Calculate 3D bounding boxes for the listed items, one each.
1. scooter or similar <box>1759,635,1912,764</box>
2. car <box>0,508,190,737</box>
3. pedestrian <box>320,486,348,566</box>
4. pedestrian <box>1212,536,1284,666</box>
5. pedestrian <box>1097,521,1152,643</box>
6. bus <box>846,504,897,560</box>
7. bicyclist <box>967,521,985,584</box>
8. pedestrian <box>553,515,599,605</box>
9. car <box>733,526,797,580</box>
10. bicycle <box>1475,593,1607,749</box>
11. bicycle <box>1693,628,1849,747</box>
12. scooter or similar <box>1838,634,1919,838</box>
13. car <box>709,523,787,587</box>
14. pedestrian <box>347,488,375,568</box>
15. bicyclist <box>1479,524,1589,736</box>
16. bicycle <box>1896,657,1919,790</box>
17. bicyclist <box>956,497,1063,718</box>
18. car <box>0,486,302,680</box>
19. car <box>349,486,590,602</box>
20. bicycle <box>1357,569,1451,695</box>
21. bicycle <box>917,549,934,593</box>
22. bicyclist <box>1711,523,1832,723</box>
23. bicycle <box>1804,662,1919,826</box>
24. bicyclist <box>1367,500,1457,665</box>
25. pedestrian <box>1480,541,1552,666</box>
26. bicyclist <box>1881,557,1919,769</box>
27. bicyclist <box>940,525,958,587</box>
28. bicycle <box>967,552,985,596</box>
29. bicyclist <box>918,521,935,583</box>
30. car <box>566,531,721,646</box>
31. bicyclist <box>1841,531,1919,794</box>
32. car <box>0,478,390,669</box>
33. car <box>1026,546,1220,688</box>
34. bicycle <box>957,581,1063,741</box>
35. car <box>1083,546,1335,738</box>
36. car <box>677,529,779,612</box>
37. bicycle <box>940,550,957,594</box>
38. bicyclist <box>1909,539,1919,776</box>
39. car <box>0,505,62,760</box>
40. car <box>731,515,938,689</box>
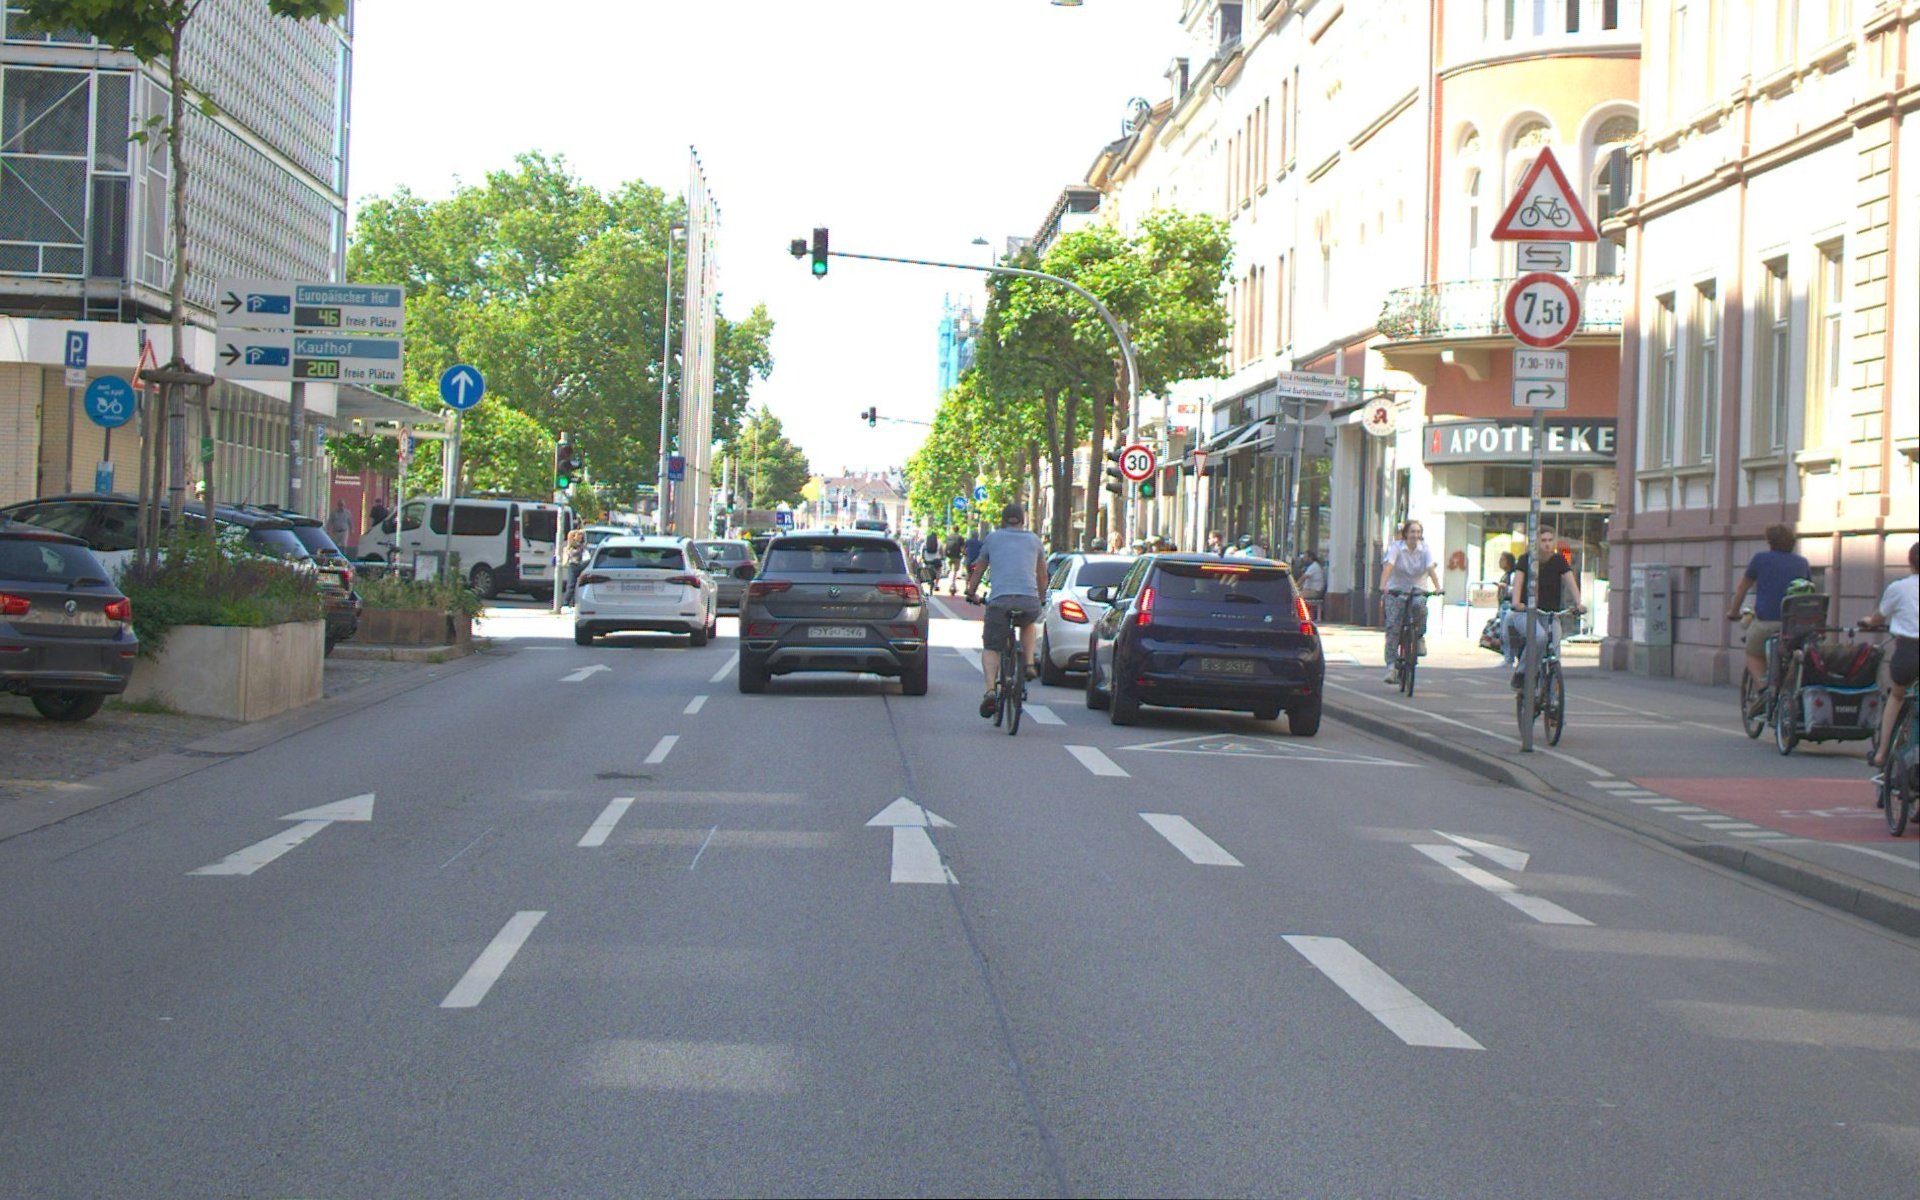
[{"bbox_3d":[6.717,0.753,26.435,0.853,0.916,1.164,2,1,0],"label":"scooter or similar"},{"bbox_3d":[-7.669,-0.003,24.969,3.996,1.454,1.666,7,1,35],"label":"car"},{"bbox_3d":[-15.891,-1.873,87.265,0.623,2.007,0.572,1,1,-8],"label":"pedestrian"},{"bbox_3d":[4.035,0.011,48.213,0.652,1.803,0.729,1,1,-29],"label":"pedestrian"},{"bbox_3d":[2.475,-0.273,51.674,0.727,1.803,0.654,1,1,9],"label":"pedestrian"},{"bbox_3d":[-5.922,-4.510,228.551,2.769,3.592,8.975,1,1,-5],"label":"bus"},{"bbox_3d":[0.416,-1.233,89.685,0.419,1.624,0.709,2,1,0],"label":"bicyclist"},{"bbox_3d":[-6.995,-0.725,62.578,0.612,1.610,0.550,2,-1,-31],"label":"pedestrian"},{"bbox_3d":[-5.533,-1.352,97.793,1.743,1.436,4.001,2,1,-3],"label":"car"},{"bbox_3d":[4.688,0.553,27.863,0.555,1.116,2.243,4,2,-2],"label":"bicycle"},{"bbox_3d":[6.614,0.697,28.127,0.740,0.876,2.138,2,1,0],"label":"bicycle"},{"bbox_3d":[5.685,0.760,19.722,0.870,1.118,1.621,1,-1,0],"label":"scooter or similar"},{"bbox_3d":[-5.009,-1.072,81.650,1.743,1.436,4.001,2,1,-3],"label":"car"},{"bbox_3d":[-15.247,-1.832,87.523,0.623,2.007,0.572,1,1,-8],"label":"pedestrian"},{"bbox_3d":[4.651,0.252,27.893,0.694,1.668,0.835,2,-2,-1],"label":"bicyclist"},{"bbox_3d":[6.805,0.855,22.708,0.647,0.876,2.103,2,1,0],"label":"bicycle"},{"bbox_3d":[0.383,0.045,27.136,0.694,1.667,0.916,4,2,-1],"label":"bicyclist"},{"bbox_3d":[-8.311,-0.238,32.003,3.986,1.495,1.717,6,1,-4],"label":"car"},{"bbox_3d":[-9.845,-1.137,68.844,4.720,1.997,1.937,4,-1,38],"label":"car"},{"bbox_3d":[4.633,0.315,35.983,0.555,1.205,2.243,3,2,-2],"label":"bicycle"},{"bbox_3d":[-0.913,-0.781,91.225,0.419,1.131,1.910,2,1,0],"label":"bicycle"},{"bbox_3d":[6.632,0.178,28.133,0.709,1.589,0.963,2,1,0],"label":"bicyclist"},{"bbox_3d":[5.897,0.876,21.473,0.647,0.876,2.389,1,1,0],"label":"bicycle"},{"bbox_3d":[4.715,-0.192,35.908,0.694,1.668,0.835,4,1,-1],"label":"bicyclist"},{"bbox_3d":[7.742,0.038,47.893,0.791,1.714,0.730,1,1,-7],"label":"pedestrian"},{"bbox_3d":[5.920,0.374,20.558,0.623,1.244,0.608,2,1,0],"label":"bicyclist"},{"bbox_3d":[-0.285,-1.165,90.971,0.419,1.624,0.669,2,1,0],"label":"bicyclist"},{"bbox_3d":[0.404,-0.679,89.612,0.419,1.131,1.910,2,1,0],"label":"bicycle"},{"bbox_3d":[-0.883,-1.281,91.109,0.419,1.624,0.709,2,1,0],"label":"bicyclist"},{"bbox_3d":[-4.250,-0.186,46.641,1.863,1.436,4.001,2,1,-3],"label":"car"},{"bbox_3d":[5.925,0.383,21.341,0.632,1.589,0.920,2,0,0],"label":"bicyclist"},{"bbox_3d":[-8.038,-0.293,35.443,3.986,1.540,1.717,6,1,-4],"label":"car"},{"bbox_3d":[1.723,0.144,37.602,1.822,1.380,4.000,2,1,-1],"label":"car"},{"bbox_3d":[0.378,0.457,27.068,0.664,1.116,2.243,4,2,-2],"label":"bicycle"},{"bbox_3d":[2.119,0.324,30.055,1.822,1.404,3.187,4,2,-1],"label":"car"},{"bbox_3d":[-4.243,-0.564,63.412,1.743,1.436,4.001,2,1,-3],"label":"car"},{"bbox_3d":[-0.309,-0.744,90.913,0.419,1.131,1.910,2,1,0],"label":"bicycle"},{"bbox_3d":[6.786,0.396,22.834,0.658,1.589,0.920,2,1,0],"label":"bicyclist"},{"bbox_3d":[-7.900,-0.024,21.690,3.993,1.563,1.698,7,1,23],"label":"car"},{"bbox_3d":[-1.210,0.019,33.309,1.833,1.522,4.000,2,0,-2],"label":"car"}]
